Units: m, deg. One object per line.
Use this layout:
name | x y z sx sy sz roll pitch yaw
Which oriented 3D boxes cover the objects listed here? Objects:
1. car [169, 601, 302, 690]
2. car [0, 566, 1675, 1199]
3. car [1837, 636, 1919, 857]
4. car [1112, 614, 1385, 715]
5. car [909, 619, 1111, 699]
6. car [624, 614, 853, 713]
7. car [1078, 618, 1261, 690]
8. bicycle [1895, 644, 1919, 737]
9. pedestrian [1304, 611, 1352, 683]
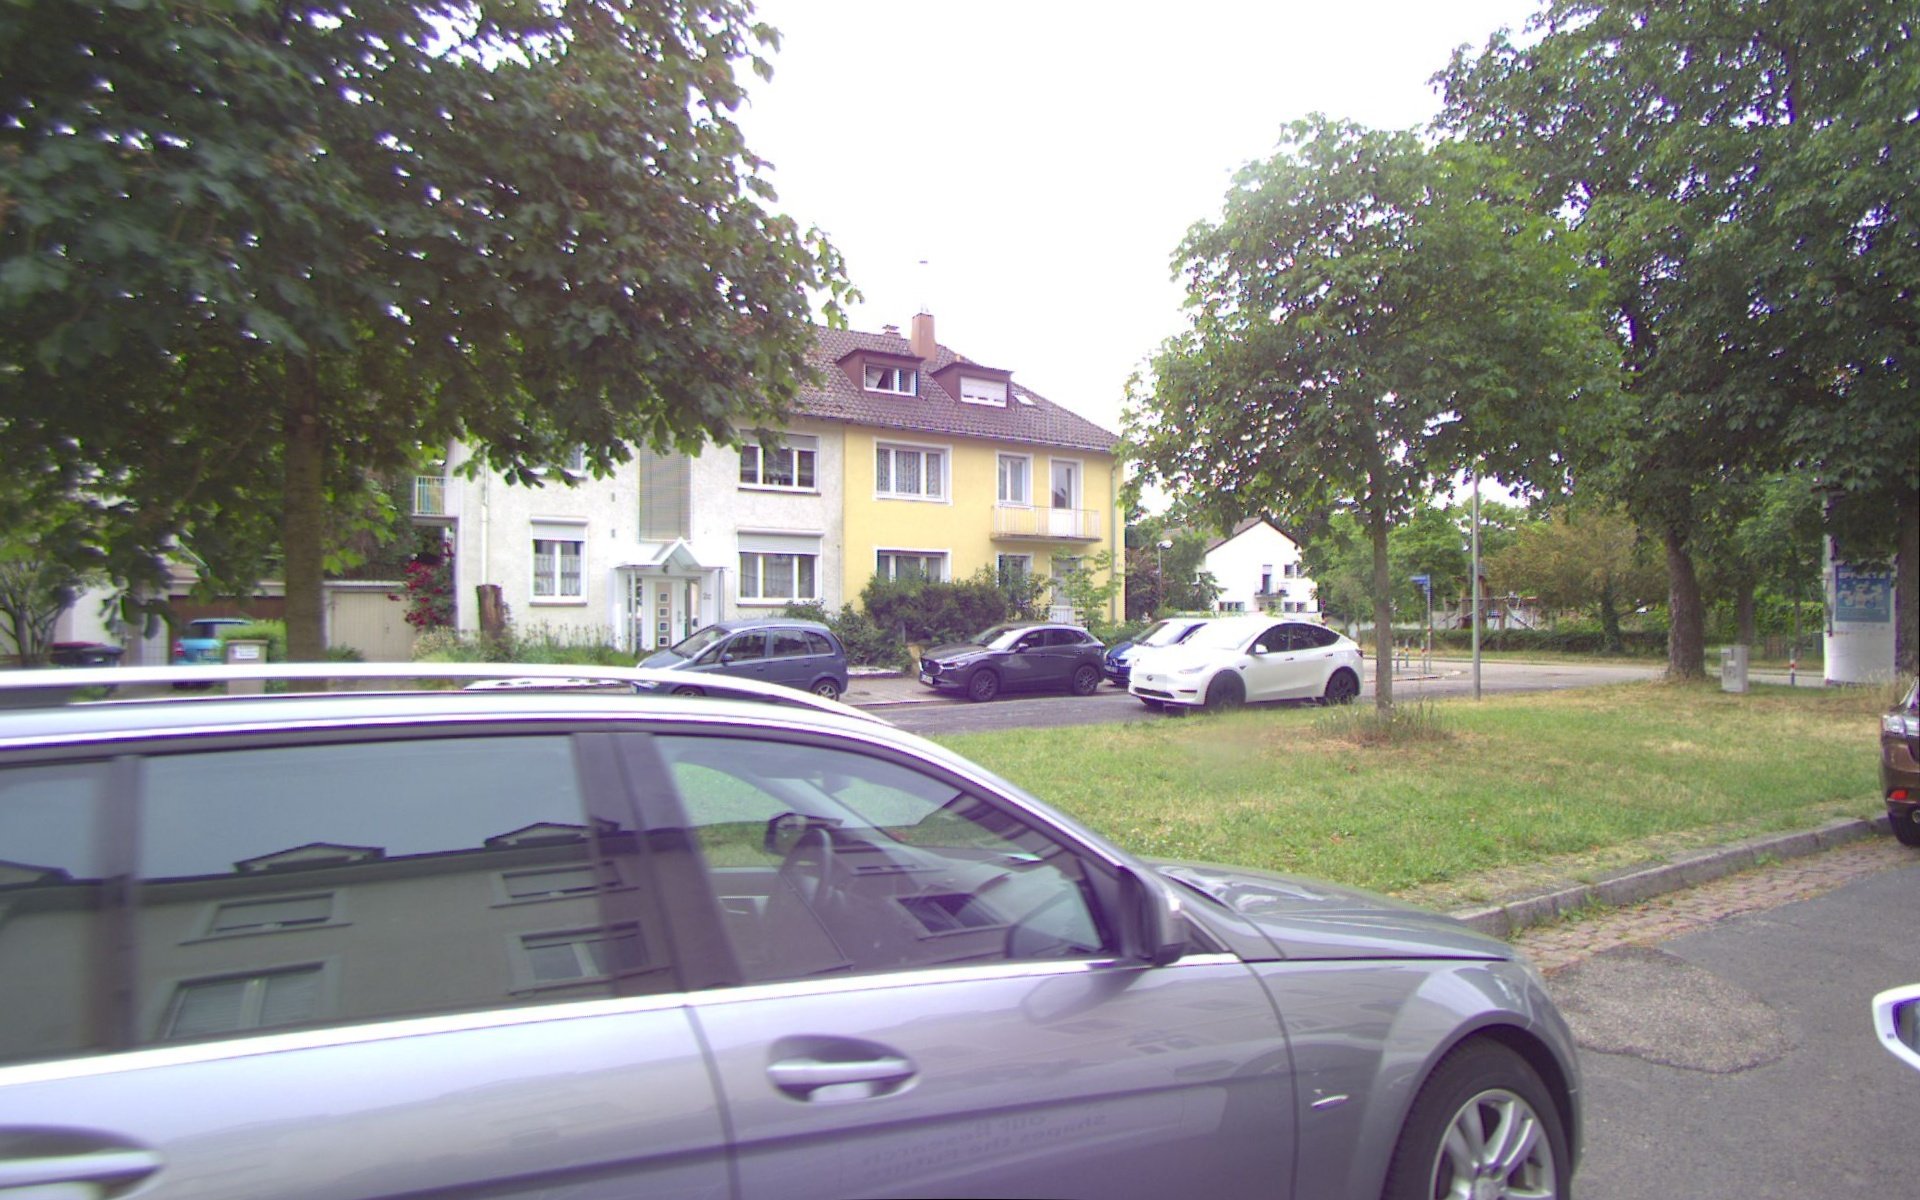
car | -16.447 0.960 23.012 1.975 1.751 3.969 0 1 -29
car | -0.567 0.789 2.173 4.395 1.476 1.704 0 -5 -30
car | 8.446 0.953 7.376 4.113 1.476 1.704 0 -6 -30
car | 5.190 1.071 17.861 4.826 1.587 1.888 1 -2 -30
car | 1.112 1.210 21.760 4.118 1.520 1.705 0 1 -31
car | -4.086 1.096 18.660 3.841 1.623 1.705 0 1 -31
car | 5.036 1.238 24.074 4.155 1.587 1.694 1 0 -26
bicycle | 12.131 1.071 12.128 1.861 1.080 0.663 1 -1 -28
pedestrian | 9.810 1.240 26.817 1.195 1.860 0.879 0 -1 19
